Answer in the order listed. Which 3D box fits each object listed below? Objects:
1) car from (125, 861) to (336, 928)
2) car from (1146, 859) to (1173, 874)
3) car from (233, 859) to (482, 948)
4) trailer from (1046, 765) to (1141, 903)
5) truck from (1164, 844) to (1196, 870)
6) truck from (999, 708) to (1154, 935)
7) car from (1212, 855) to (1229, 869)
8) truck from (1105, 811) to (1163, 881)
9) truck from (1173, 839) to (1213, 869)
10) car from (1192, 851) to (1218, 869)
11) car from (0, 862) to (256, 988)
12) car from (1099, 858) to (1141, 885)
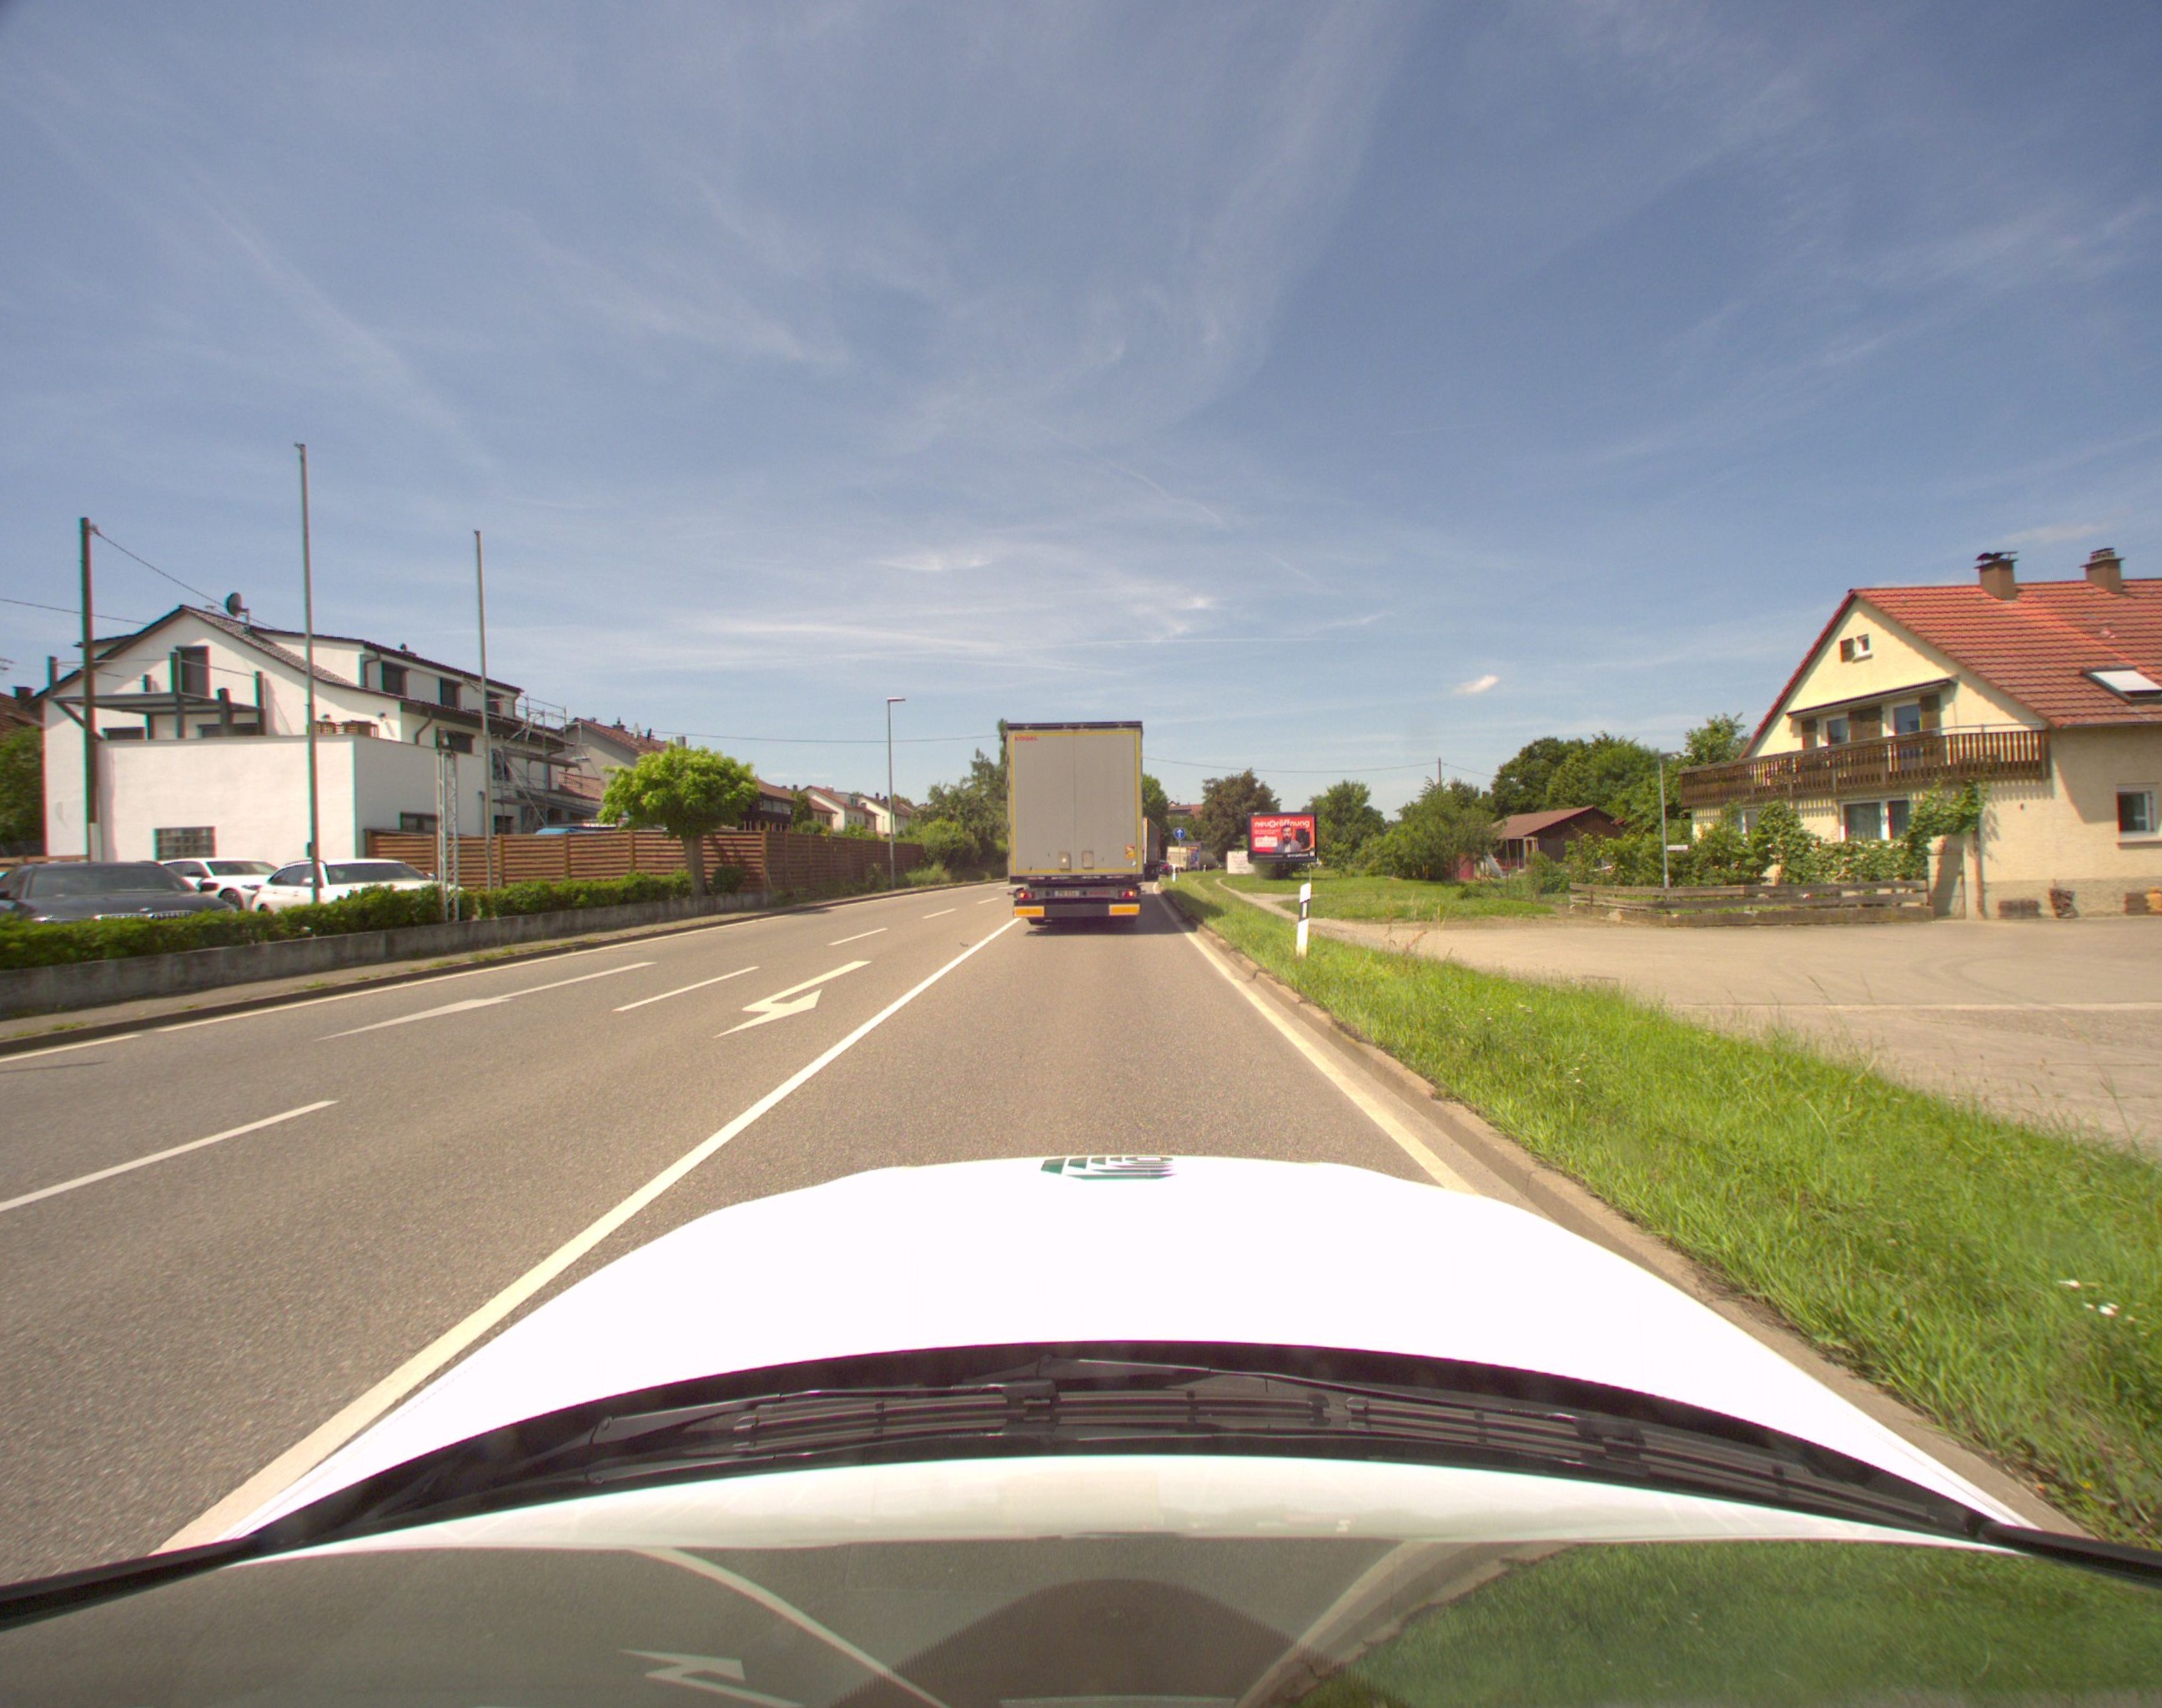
[{"bbox_3d":[-20.826,0.938,20.000,3.958,1.510,1.842,0,0,14],"label":"car"},{"bbox_3d":[7.536,1.197,77.747,1.979,1.376,4.014,0,-1,14],"label":"car"},{"bbox_3d":[-13.248,0.826,14.898,4.288,1.447,1.868,0,-1,26],"label":"car"},{"bbox_3d":[0.519,-0.605,27.679,2.814,4.111,6.548,-1,0,2],"label":"trailer"},{"bbox_3d":[10.916,0.375,89.719,2.524,2.803,6.057,0,-1,16],"label":"truck"},{"bbox_3d":[0.182,-0.601,20.586,2.811,4.127,11.451,0,0,3],"label":"truck"},{"bbox_3d":[21.057,1.184,122.697,1.978,2.014,4.018,0,-1,17],"label":"car"},{"bbox_3d":[4.036,-0.365,57.905,2.744,4.289,16.452,0,-1,8],"label":"truck"},{"bbox_3d":[13.997,-0.004,101.252,3.406,3.604,9.395,0,0,17],"label":"truck"},{"bbox_3d":[16.754,0.769,109.450,2.512,2.277,6.410,0,0,17],"label":"car"},{"bbox_3d":[-13.603,0.844,11.159,4.288,1.447,1.909,0,-1,26],"label":"car"},{"bbox_3d":[2.109,0.909,43.213,1.808,1.346,3.857,0,-1,9],"label":"car"}]
